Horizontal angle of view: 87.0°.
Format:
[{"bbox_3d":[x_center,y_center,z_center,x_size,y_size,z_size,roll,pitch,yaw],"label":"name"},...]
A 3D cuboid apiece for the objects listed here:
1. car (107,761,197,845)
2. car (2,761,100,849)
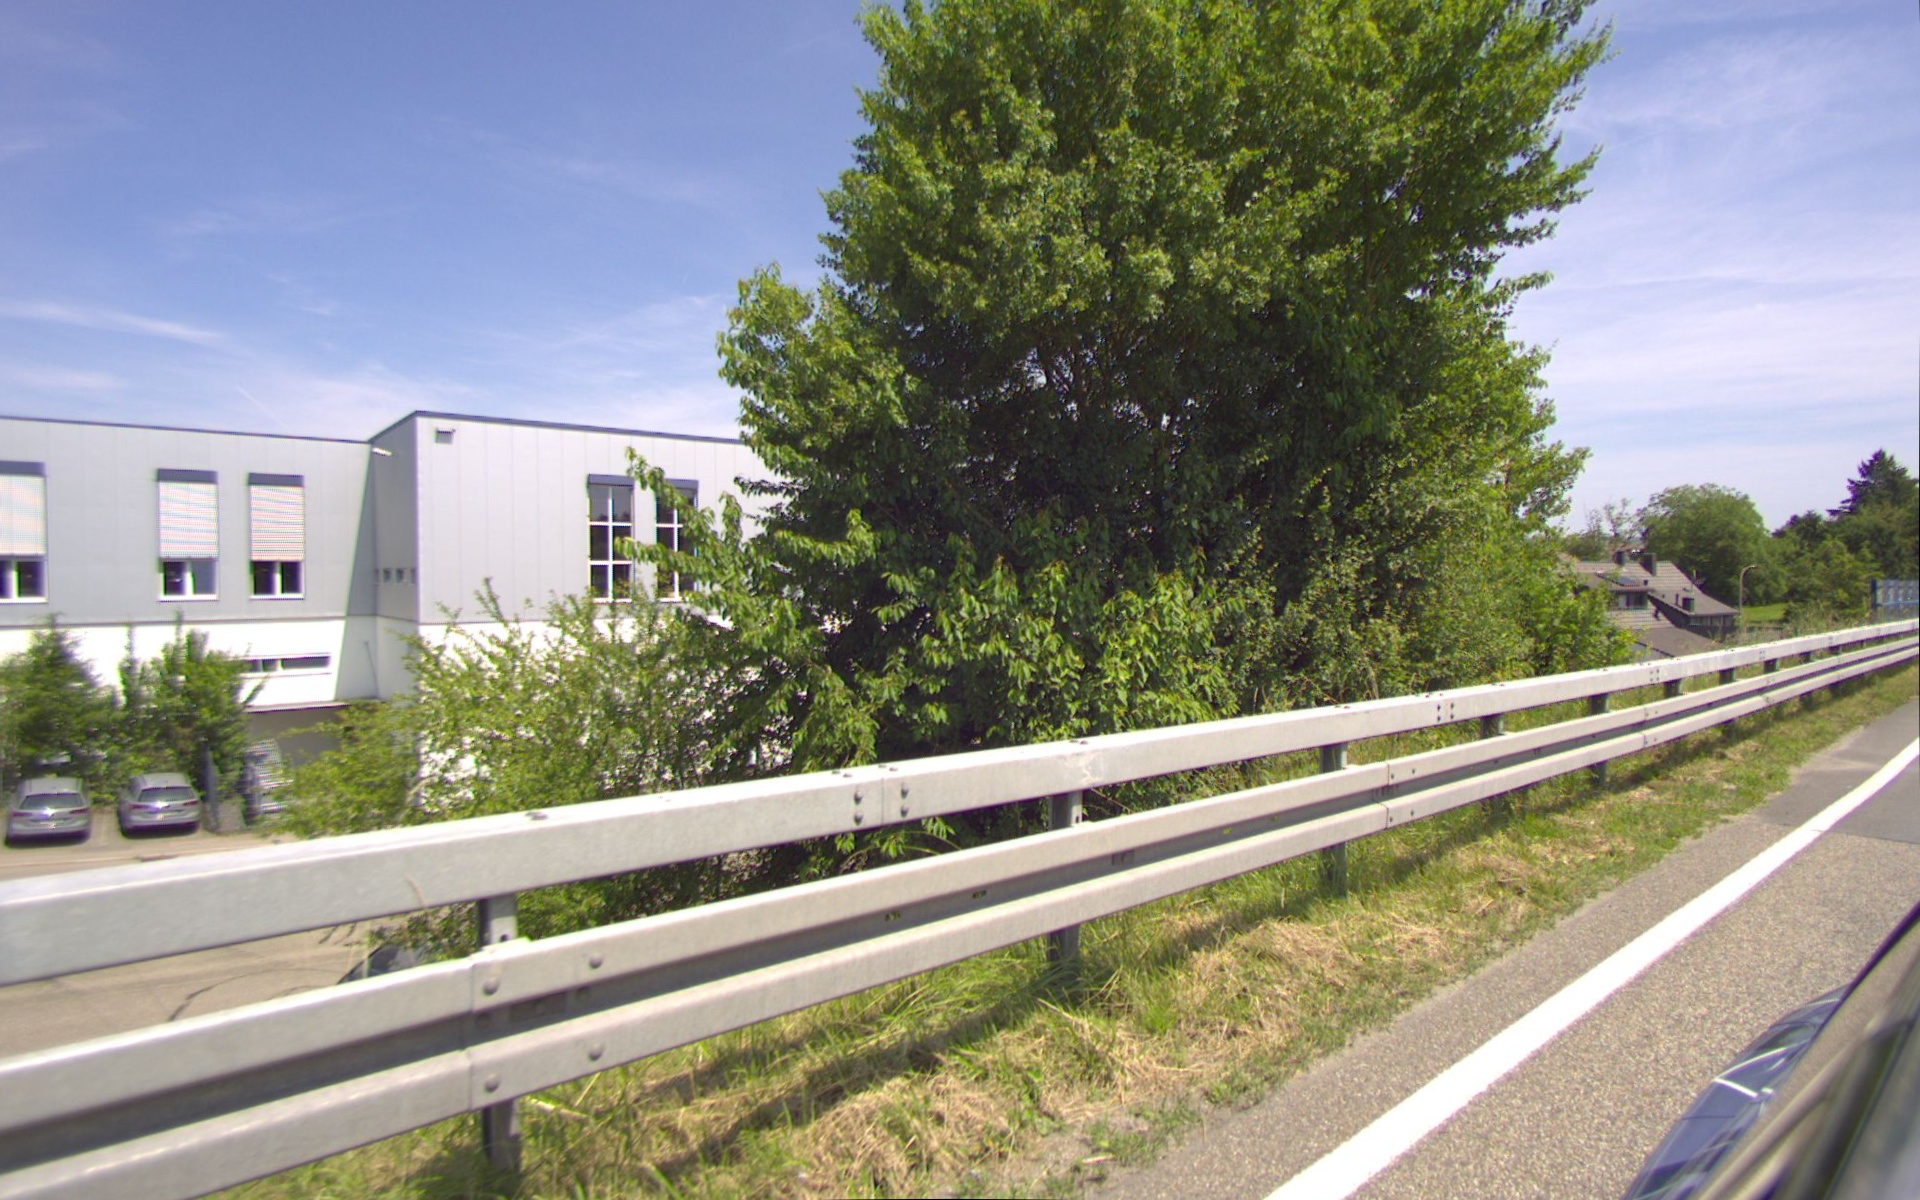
[{"bbox_3d":[-24.119,5.956,30.153,1.878,1.592,4.045,4,0,-41],"label":"car"},{"bbox_3d":[-25.756,5.740,28.790,1.878,1.592,4.045,4,0,-41],"label":"car"}]
